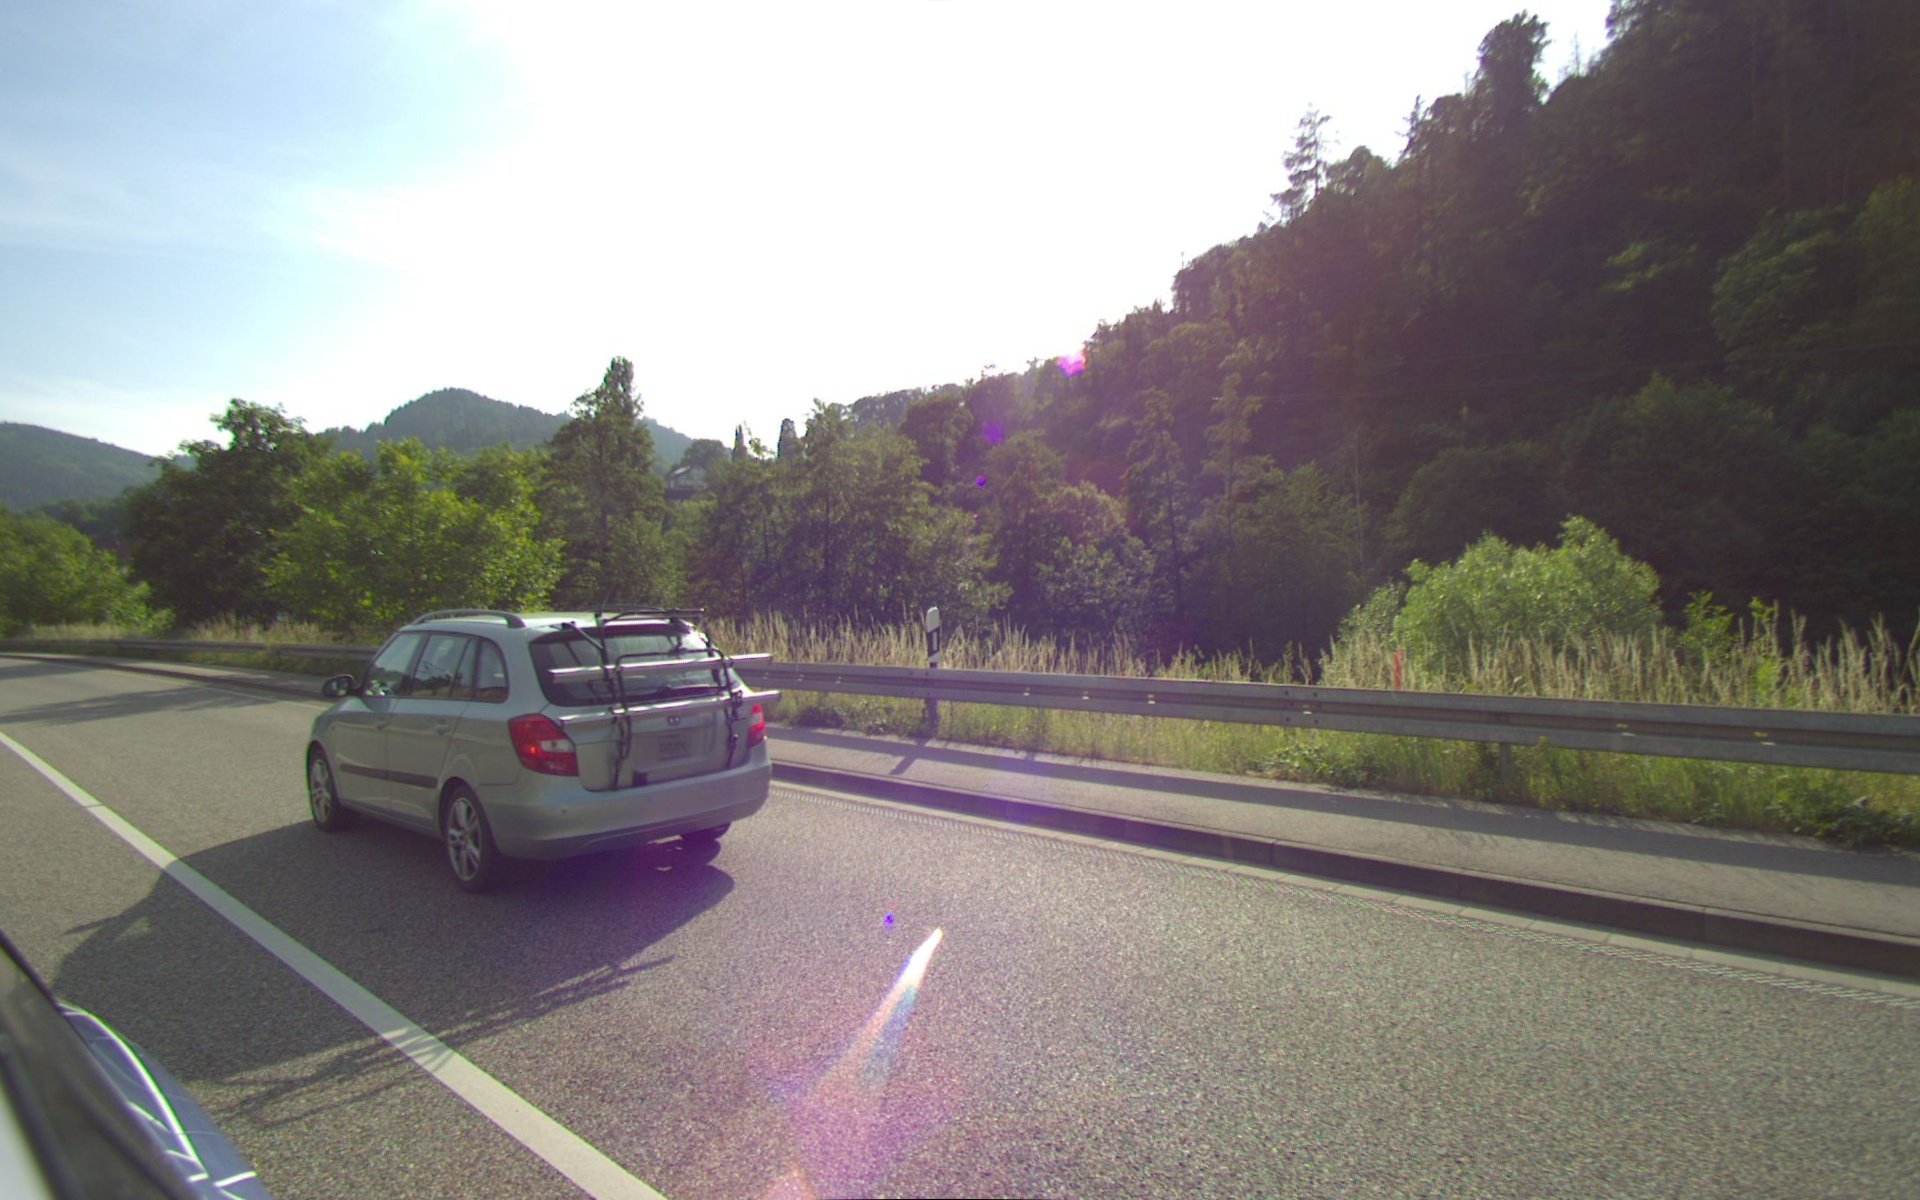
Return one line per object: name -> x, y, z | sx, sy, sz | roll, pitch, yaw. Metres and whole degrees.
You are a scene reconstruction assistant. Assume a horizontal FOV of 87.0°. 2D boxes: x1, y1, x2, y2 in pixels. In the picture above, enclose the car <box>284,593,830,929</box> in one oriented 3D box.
car -> -2.752, 0.759, 6.413 | 3.998, 1.490, 1.561 | -2, -1, 41
